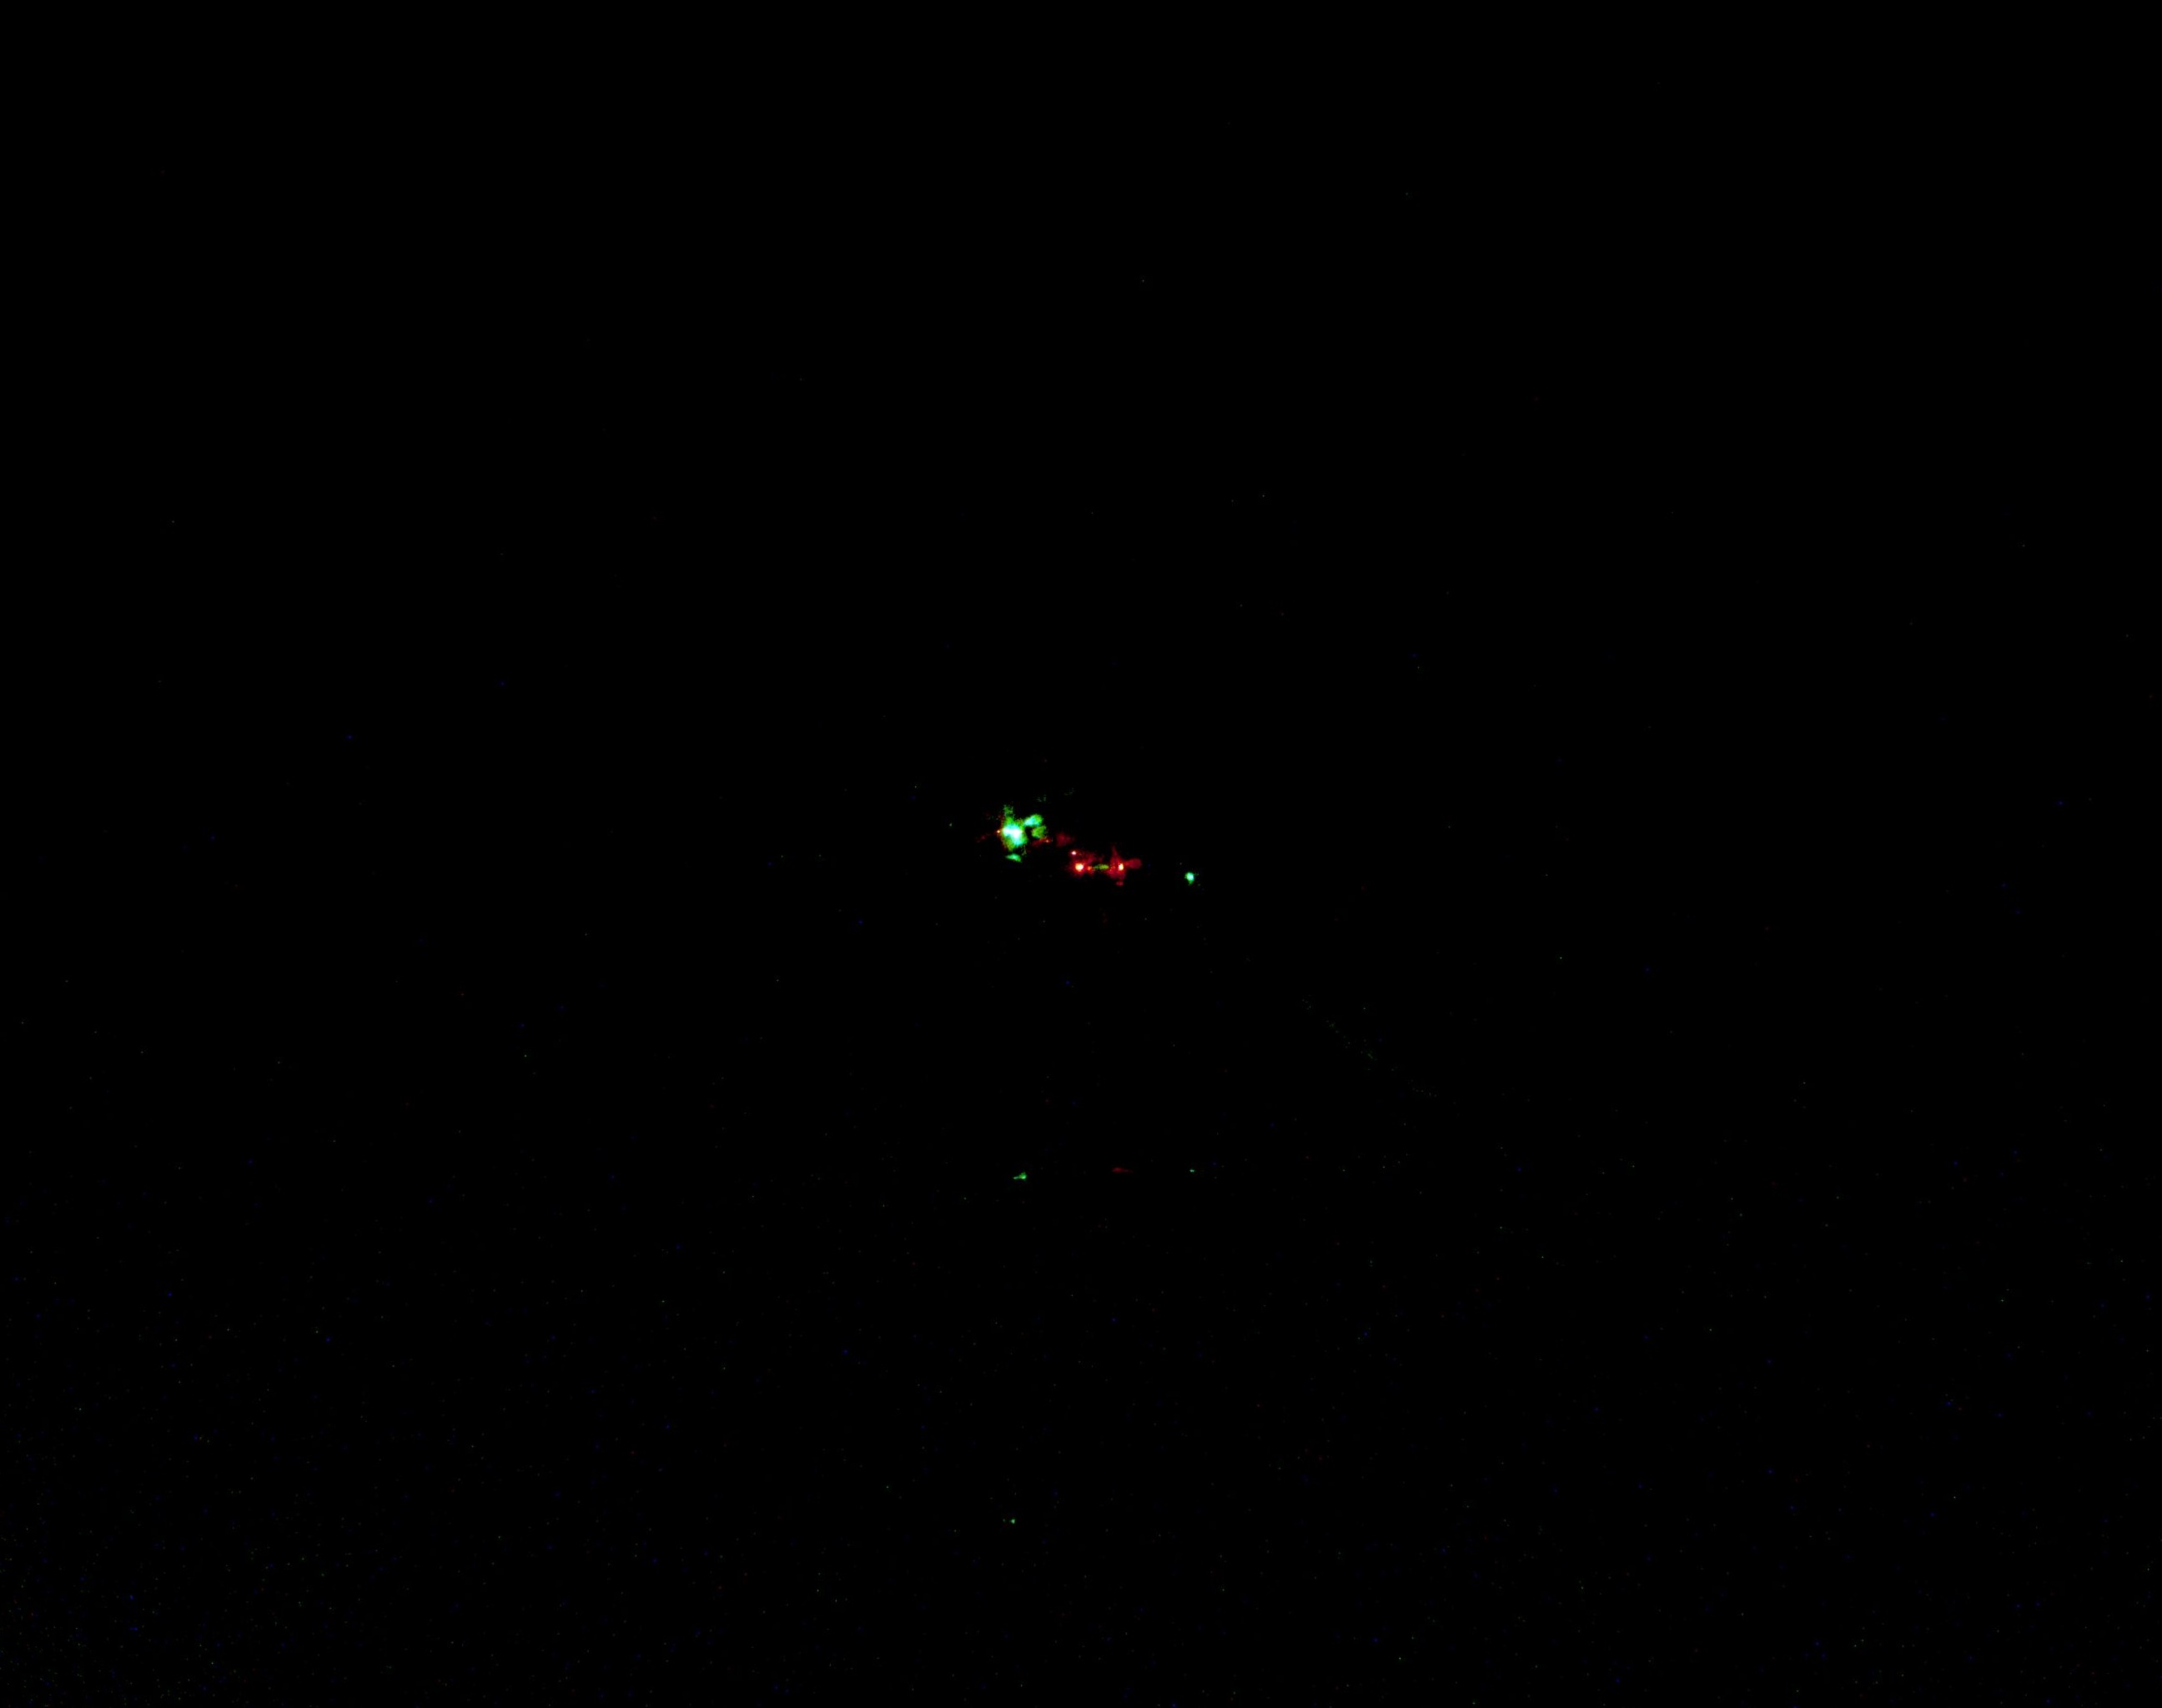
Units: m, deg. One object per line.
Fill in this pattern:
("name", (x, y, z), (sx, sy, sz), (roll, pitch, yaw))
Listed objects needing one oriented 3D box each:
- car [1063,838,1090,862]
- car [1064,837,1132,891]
("car", (-0.410, -0.360, 70.780), (1.991, 2.013, 3.992), (0, 1, -6))
("car", (0.797, 0.380, 32.809), (2.447, 1.958, 4.917), (-1, 0, 4))
